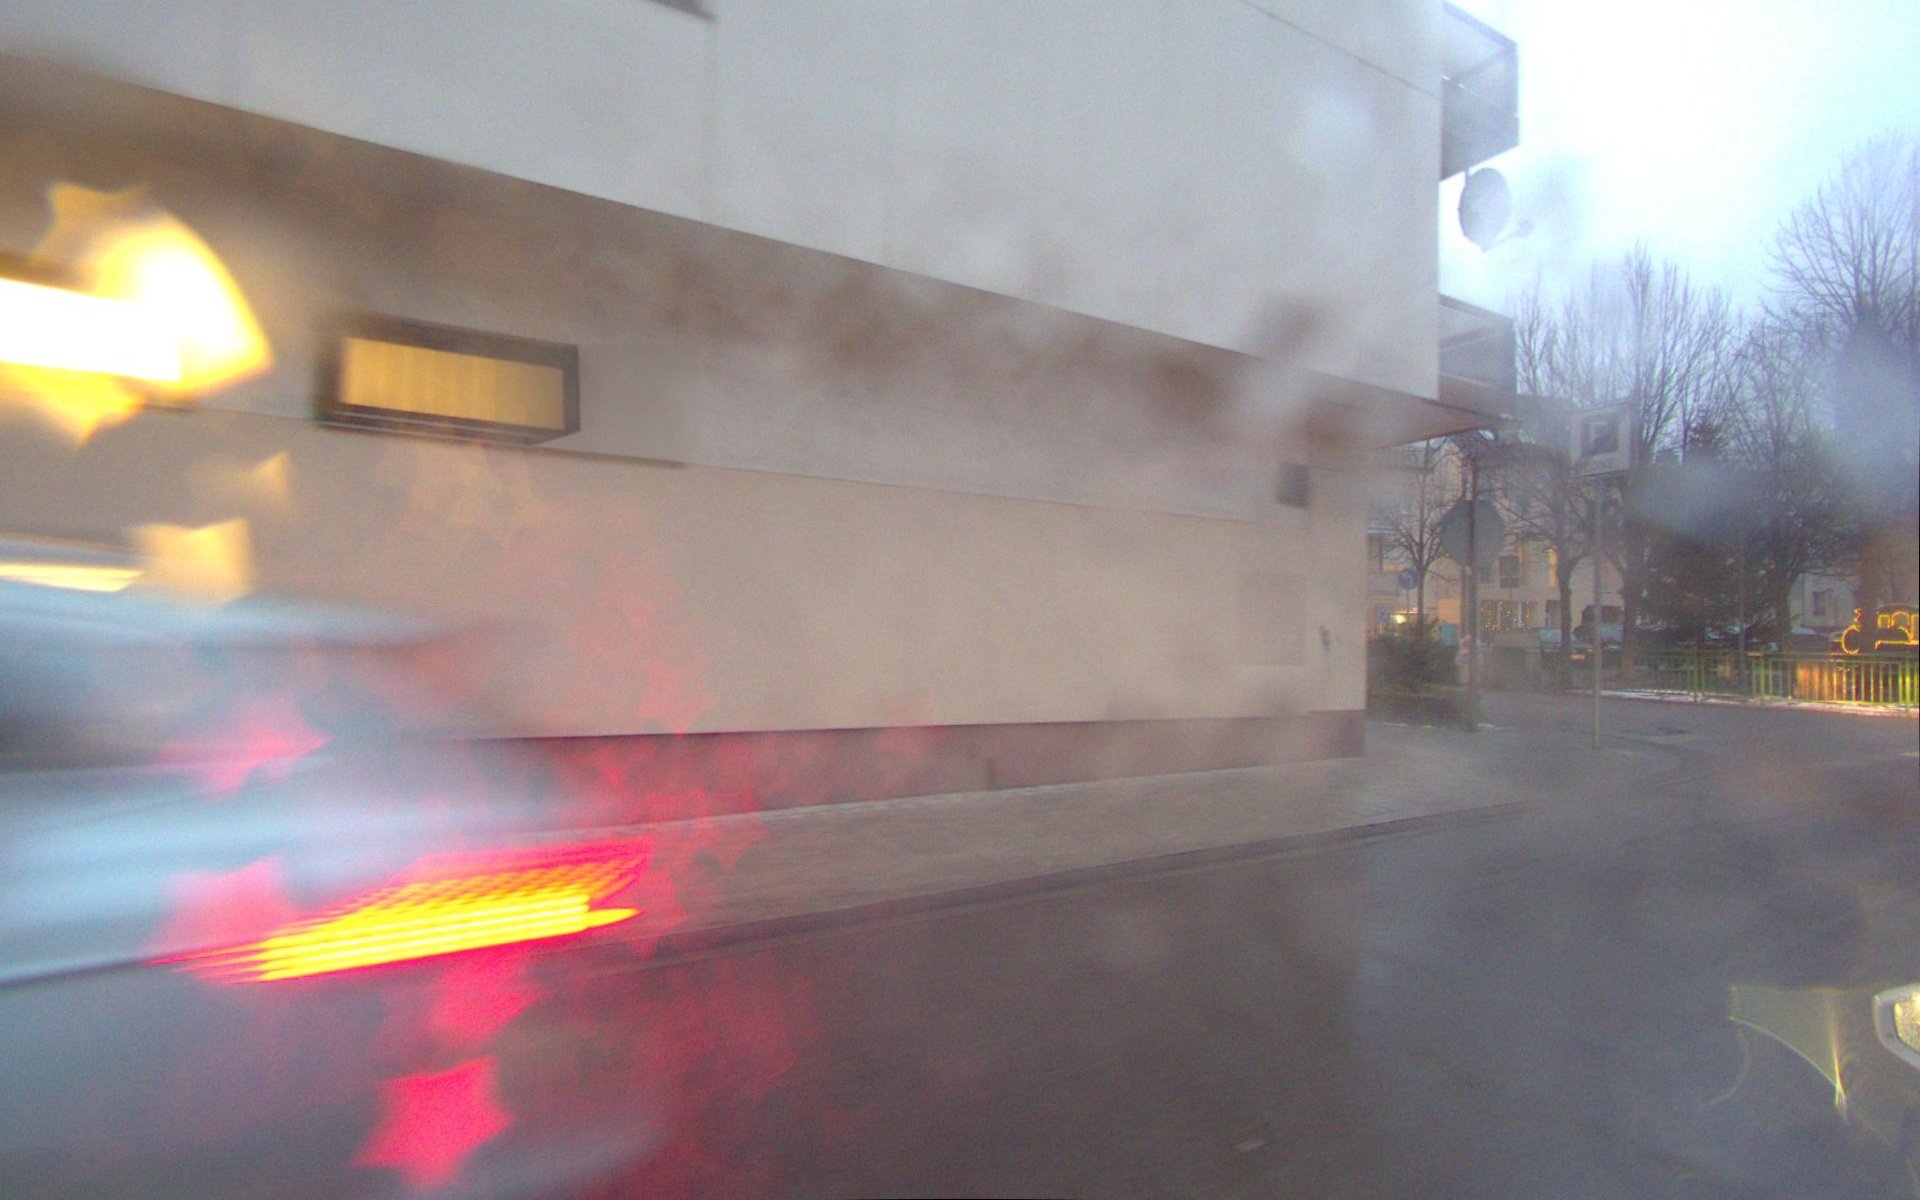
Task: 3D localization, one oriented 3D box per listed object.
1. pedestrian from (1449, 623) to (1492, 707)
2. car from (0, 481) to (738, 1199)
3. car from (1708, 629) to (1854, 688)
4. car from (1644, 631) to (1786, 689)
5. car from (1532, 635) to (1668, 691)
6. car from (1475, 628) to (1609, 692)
[{"bbox_3d":[9.212,1.156,18.133,0.638,1.478,0.650,1,0,24],"label":"pedestrian"},{"bbox_3d":[-2.629,0.668,1.024,4.356,1.617,1.798,1,-1,-36],"label":"car"},{"bbox_3d":[30.134,2.109,37.045,1.786,2.025,3.993,1,-1,-10],"label":"car"},{"bbox_3d":[27.236,2.115,36.421,1.786,1.936,3.993,1,-1,-10],"label":"car"},{"bbox_3d":[22.123,2.135,34.926,1.786,1.753,3.993,1,-1,-10],"label":"car"},{"bbox_3d":[19.525,1.964,33.923,1.786,2.014,3.993,1,-1,-10],"label":"car"}]
